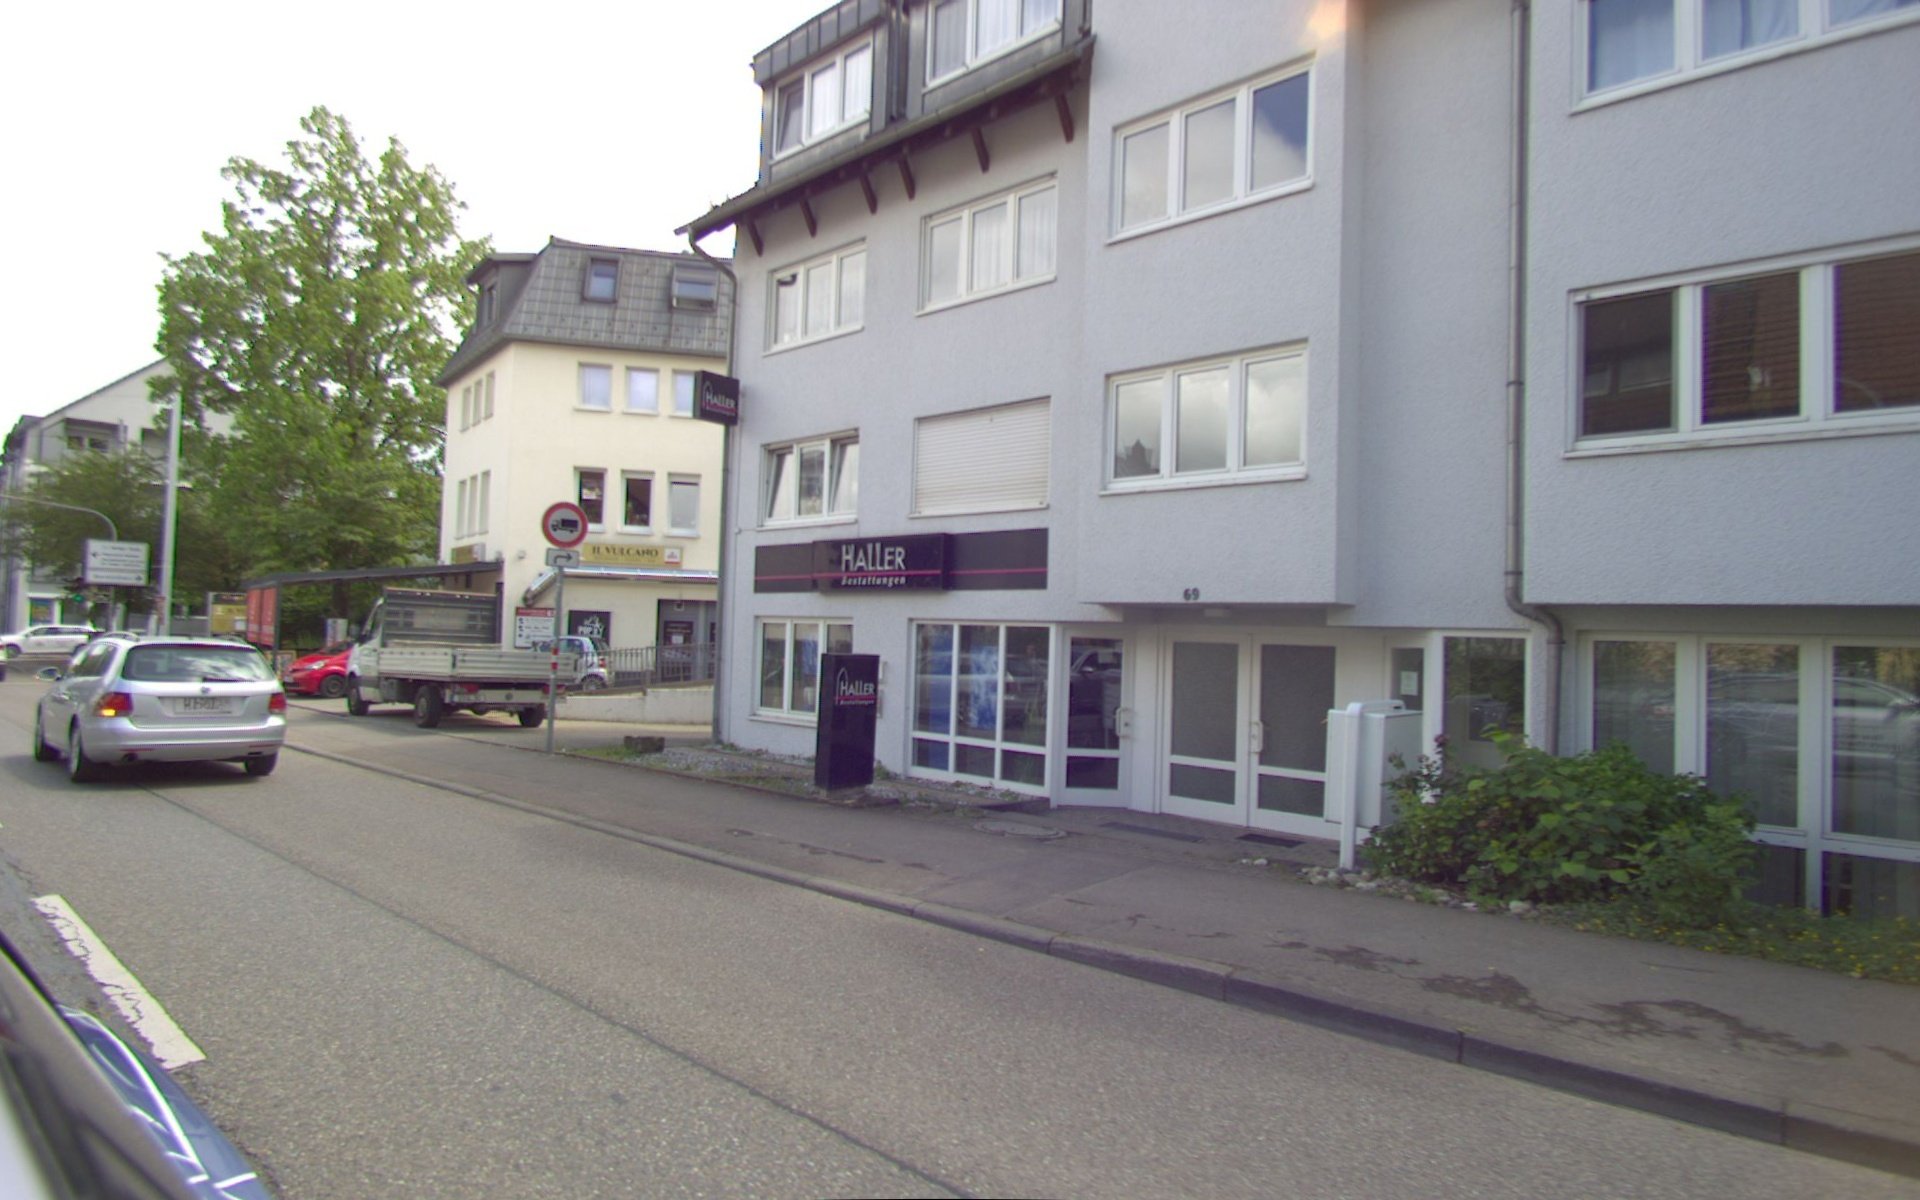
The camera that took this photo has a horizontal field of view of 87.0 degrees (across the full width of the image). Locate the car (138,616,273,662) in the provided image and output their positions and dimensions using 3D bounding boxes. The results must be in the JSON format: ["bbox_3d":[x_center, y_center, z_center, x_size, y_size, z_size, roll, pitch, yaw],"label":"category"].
[{"bbox_3d":[-34.790,1.819,46.768,2.093,2.024,4.576,-1,-3,38],"label":"car"}]

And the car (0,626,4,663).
[{"bbox_3d":[-28.058,1.469,28.045,4.157,1.583,1.787,-1,-5,41],"label":"car"}]

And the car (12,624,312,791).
[{"bbox_3d":[-8.998,1.094,11.272,4.373,1.514,1.710,-2,-6,41],"label":"car"}]

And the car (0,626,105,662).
[{"bbox_3d":[-40.732,1.943,44.787,1.821,1.525,4.168,-3,-4,40],"label":"car"}]

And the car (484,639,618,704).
[{"bbox_3d":[-10.148,1.777,25.279,2.802,1.481,1.570,2,-2,-10],"label":"car"}]

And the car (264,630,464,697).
[{"bbox_3d":[-14.036,1.468,24.004,1.802,1.436,3.658,-1,-3,37],"label":"car"}]

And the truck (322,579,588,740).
[{"bbox_3d":[-9.209,0.961,18.100,6.327,2.398,2.199,-1,-3,44],"label":"truck"}]
